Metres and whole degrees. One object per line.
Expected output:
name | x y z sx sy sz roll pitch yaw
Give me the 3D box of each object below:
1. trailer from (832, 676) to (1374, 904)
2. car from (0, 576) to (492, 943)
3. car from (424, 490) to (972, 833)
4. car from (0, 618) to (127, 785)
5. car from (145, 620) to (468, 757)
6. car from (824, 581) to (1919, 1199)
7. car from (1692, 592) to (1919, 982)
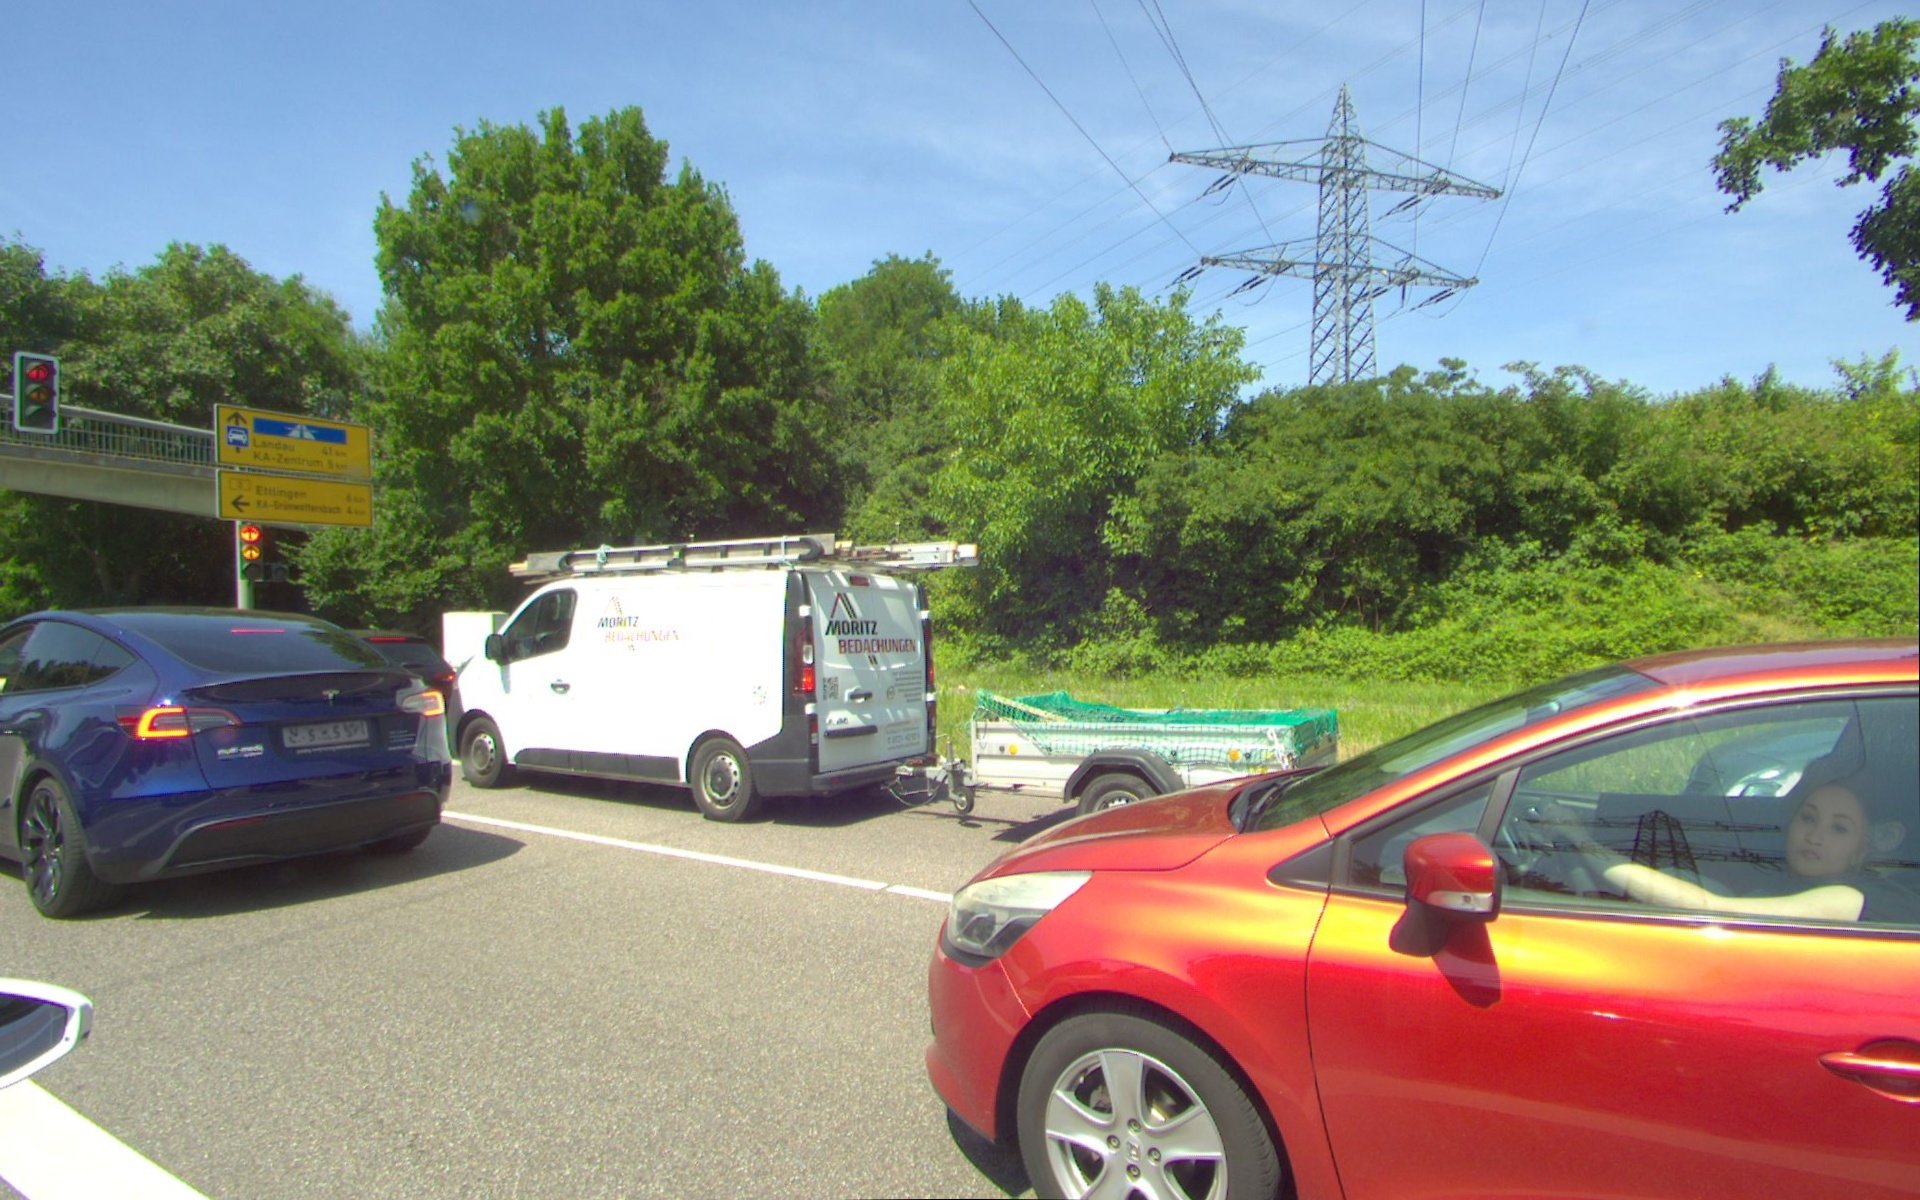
trailer | 0.940 1.116 6.837 3.276 1.019 1.703 -1 -1 32
car | -5.266 0.775 6.560 4.455 1.665 1.897 -1 -2 32
car | -2.514 0.485 9.104 5.002 2.379 1.929 -1 -1 32
car | -10.303 0.936 10.037 3.882 1.497 1.897 -1 -2 32
car | -8.527 1.022 12.979 4.317 1.497 1.897 -1 -2 32
car | 1.805 0.736 2.281 4.005 1.480 1.740 -1 -1 31
car | 5.640 0.766 4.122 4.105 1.616 1.761 -1 0 32
